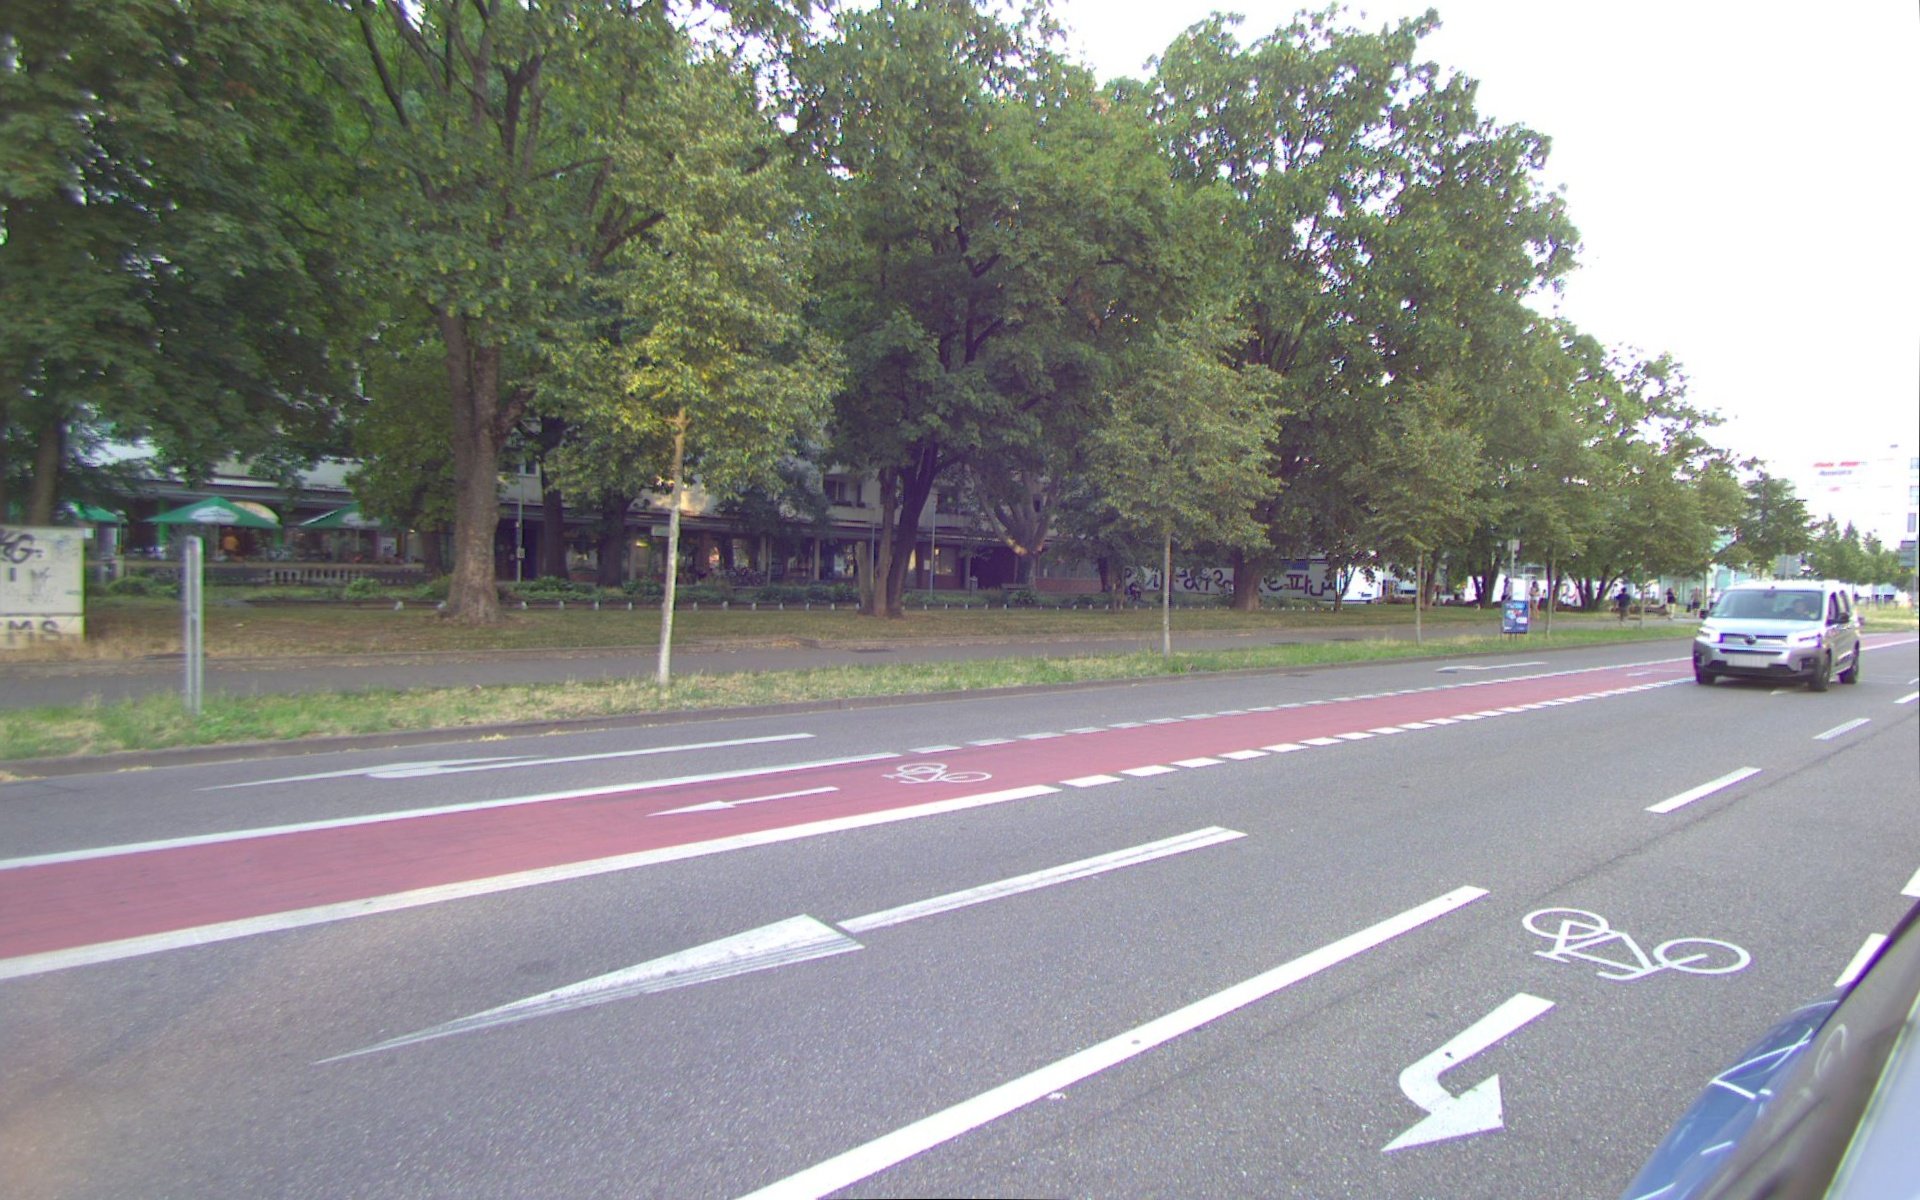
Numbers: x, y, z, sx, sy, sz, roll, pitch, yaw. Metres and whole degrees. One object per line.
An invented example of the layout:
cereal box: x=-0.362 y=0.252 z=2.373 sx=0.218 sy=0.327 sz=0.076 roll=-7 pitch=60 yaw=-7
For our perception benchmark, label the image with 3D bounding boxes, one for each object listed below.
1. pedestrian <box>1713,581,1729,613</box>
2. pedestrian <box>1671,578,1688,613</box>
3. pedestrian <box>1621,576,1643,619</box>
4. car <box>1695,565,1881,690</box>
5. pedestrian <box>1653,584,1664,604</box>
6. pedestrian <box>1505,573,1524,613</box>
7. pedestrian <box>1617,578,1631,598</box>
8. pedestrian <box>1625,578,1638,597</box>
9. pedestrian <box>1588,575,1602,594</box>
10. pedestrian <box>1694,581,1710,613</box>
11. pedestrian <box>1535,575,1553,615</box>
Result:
pedestrian: x=42.181 y=-0.182 z=56.066 sx=0.707 sy=1.751 sz=0.508 roll=0 pitch=2 yaw=-41
pedestrian: x=37.395 y=-0.238 z=52.600 sx=0.707 sy=1.751 sz=0.508 roll=0 pitch=2 yaw=-41
pedestrian: x=28.077 y=-0.104 z=42.274 sx=0.546 sy=1.760 sz=0.558 roll=0 pitch=2 yaw=-41
car: x=14.618 y=0.405 z=17.780 sx=4.421 sy=1.912 sz=1.766 roll=0 pitch=2 yaw=-41
pedestrian: x=49.343 y=-0.404 z=71.519 sx=0.427 sy=1.371 sz=0.508 roll=0 pitch=2 yaw=-40
pedestrian: x=23.038 y=-0.292 z=42.029 sx=0.513 sy=1.621 sz=0.500 roll=0 pitch=2 yaw=-41
pedestrian: x=46.513 y=-0.872 z=70.922 sx=0.550 sy=1.371 sz=0.662 roll=0 pitch=2 yaw=-40
pedestrian: x=47.940 y=-0.904 z=72.230 sx=0.496 sy=1.371 sz=0.654 roll=0 pitch=2 yaw=-40
pedestrian: x=45.490 y=-1.095 z=72.469 sx=0.669 sy=1.371 sz=0.631 roll=0 pitch=2 yaw=-41
pedestrian: x=41.654 y=-0.187 z=56.785 sx=0.707 sy=1.751 sz=0.519 roll=0 pitch=2 yaw=-40
pedestrian: x=24.167 y=-0.218 z=41.876 sx=0.359 sy=1.621 sz=0.500 roll=1 pitch=2 yaw=-40
